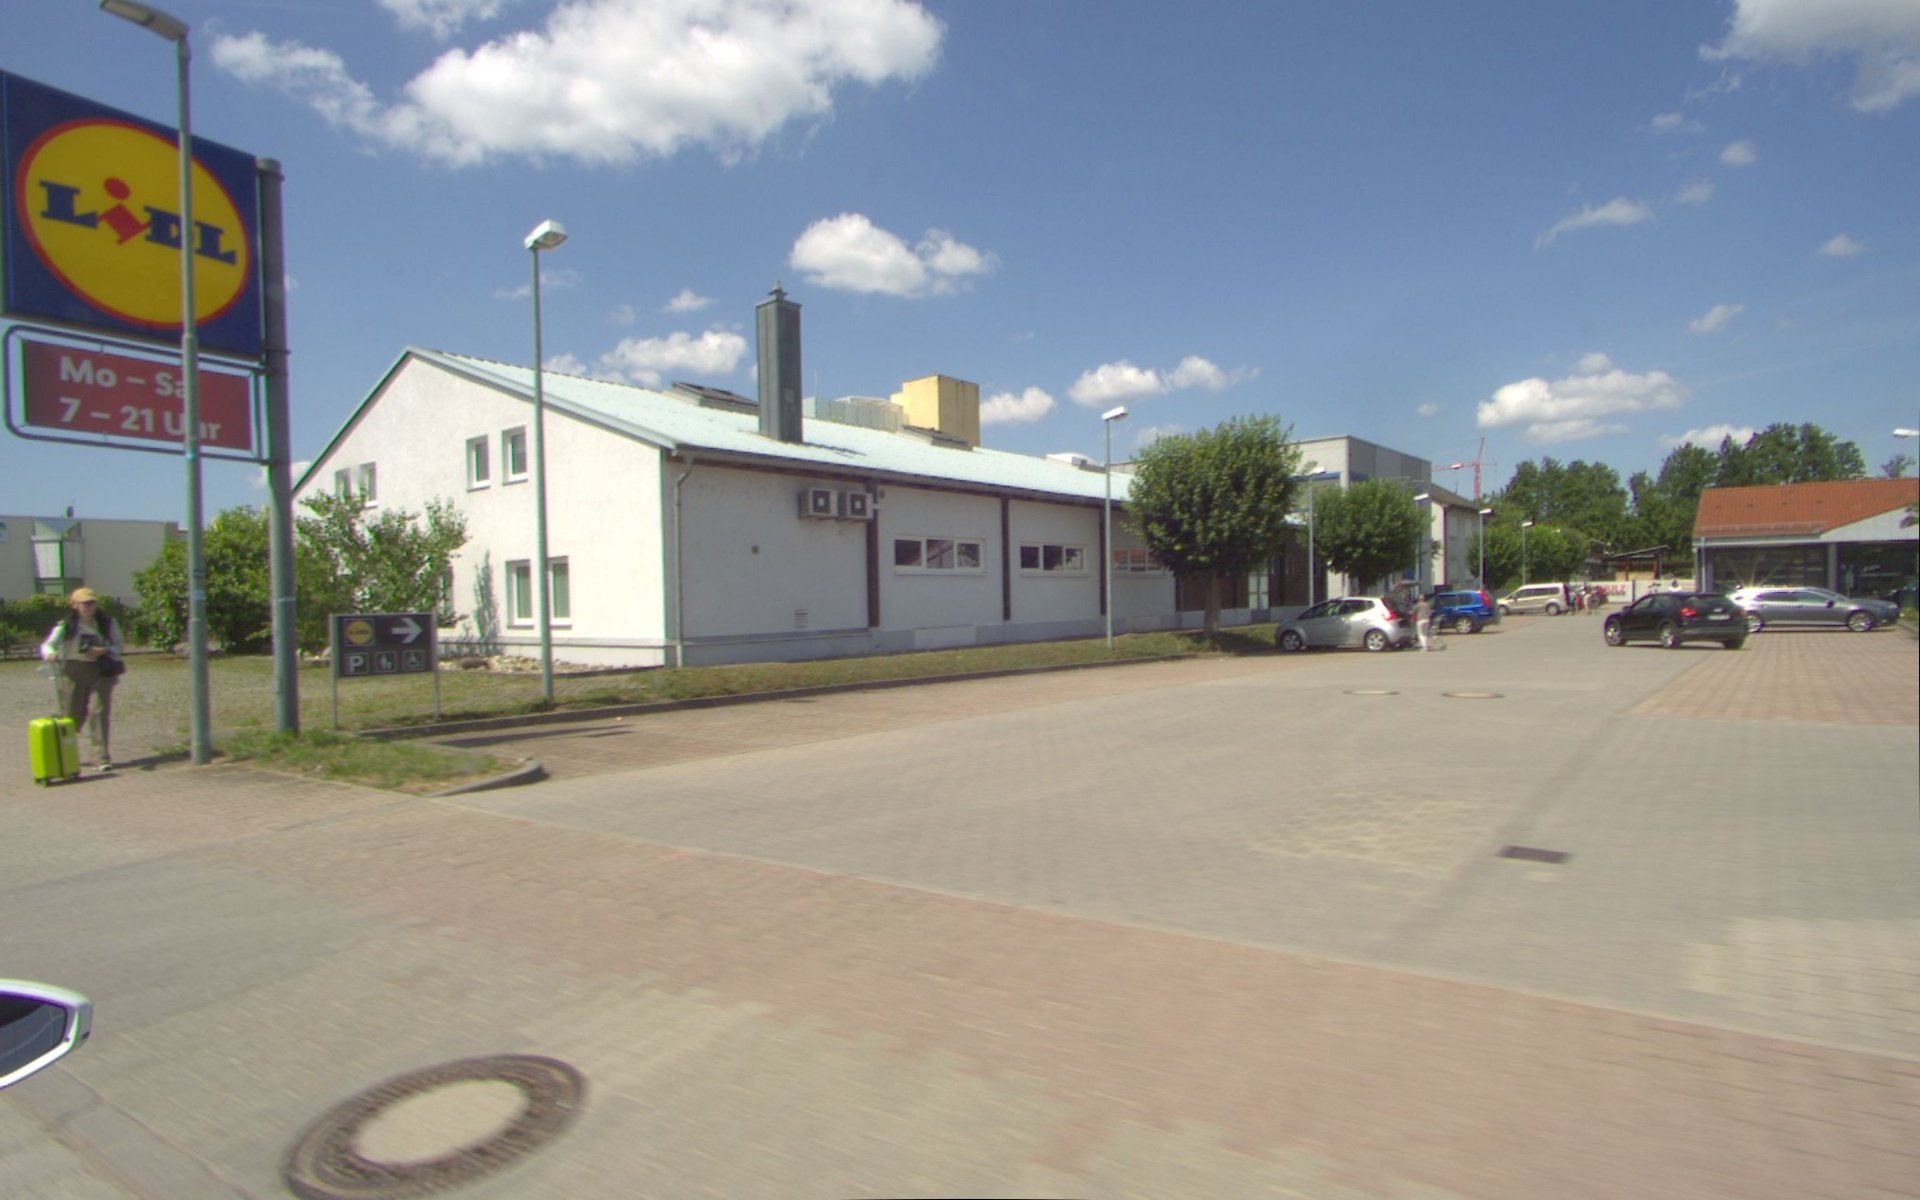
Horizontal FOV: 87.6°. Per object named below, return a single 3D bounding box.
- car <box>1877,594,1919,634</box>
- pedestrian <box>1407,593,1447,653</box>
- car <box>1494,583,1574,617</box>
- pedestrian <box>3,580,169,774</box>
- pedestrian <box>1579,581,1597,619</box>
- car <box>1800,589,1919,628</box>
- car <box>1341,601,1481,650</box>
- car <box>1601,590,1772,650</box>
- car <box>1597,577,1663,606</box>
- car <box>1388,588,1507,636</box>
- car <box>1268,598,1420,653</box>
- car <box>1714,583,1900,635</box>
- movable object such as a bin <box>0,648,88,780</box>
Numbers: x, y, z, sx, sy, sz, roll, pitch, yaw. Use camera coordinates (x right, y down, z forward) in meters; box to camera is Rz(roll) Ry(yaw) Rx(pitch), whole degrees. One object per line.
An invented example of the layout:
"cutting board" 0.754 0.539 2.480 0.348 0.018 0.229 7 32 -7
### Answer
"car" 36.014 0.496 36.243 3.943 1.429 1.577 0 0 32
"pedestrian" 13.188 0.652 28.286 0.724 1.659 0.774 -3 0 -45
"car" 33.891 0.014 59.145 3.929 1.791 1.808 -2 0 35
"pedestrian" -7.846 0.648 8.992 1.192 1.623 0.760 0 1 30
"pedestrian" 35.889 0.019 57.243 0.900 2.134 0.866 0 1 32
"car" 32.458 0.307 35.467 3.943 1.326 1.577 -1 0 32
"car" 13.934 0.770 31.046 3.700 1.443 1.580 -1 -1 39
"car" 19.559 0.508 27.197 1.961 1.514 3.999 0 0 5
"car" 48.972 -0.569 73.237 3.946 2.040 1.988 0 0 35
"car" 19.549 0.482 40.251 3.941 1.731 1.879 -3 0 40
"car" 11.426 0.726 29.903 3.855 1.518 1.879 0 0 41
"car" 27.809 0.292 33.098 4.558 1.614 1.575 0 0 36
"movable object such as a bin" -7.713 0.941 8.429 0.491 1.044 0.373 -1 3 29
